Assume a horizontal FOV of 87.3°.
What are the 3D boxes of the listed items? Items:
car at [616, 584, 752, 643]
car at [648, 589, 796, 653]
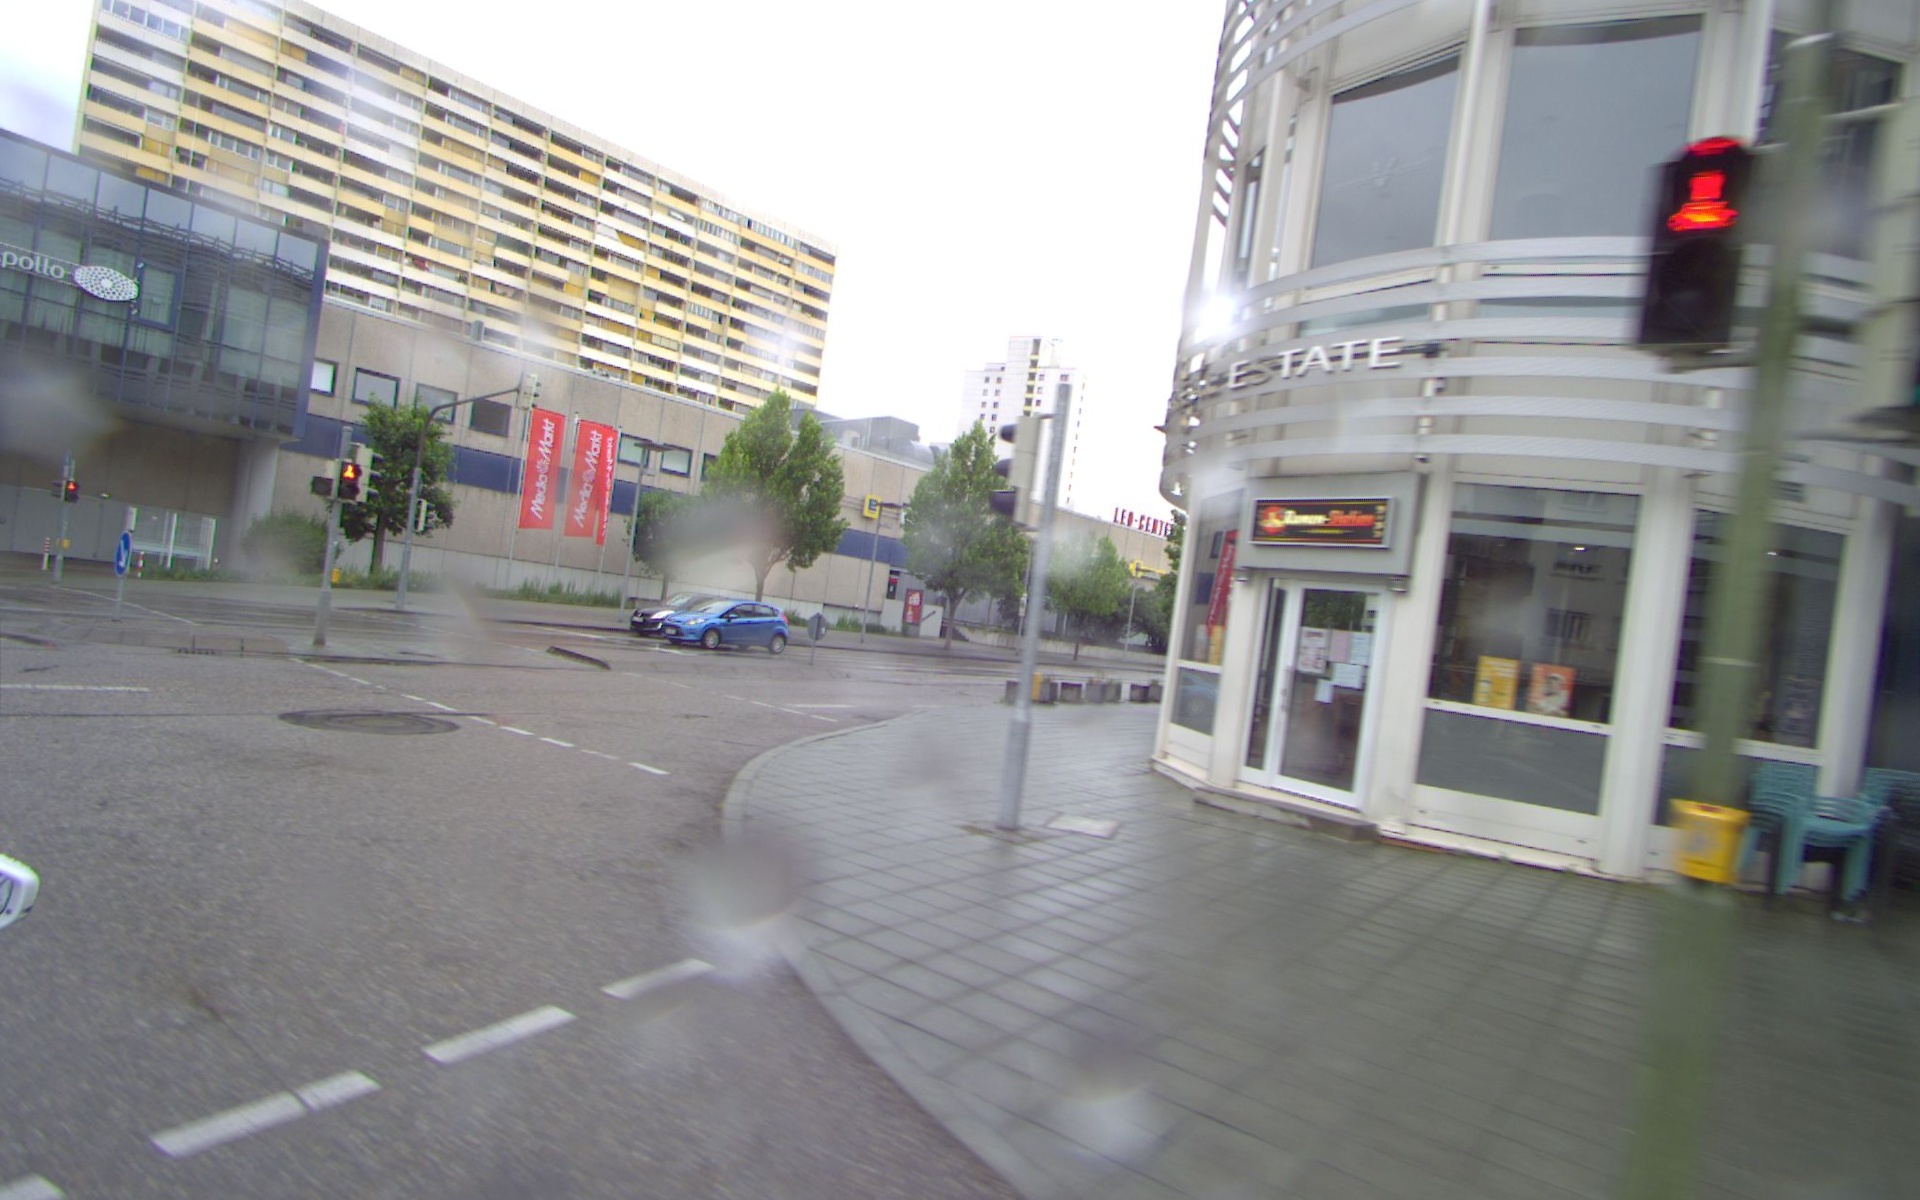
[{"bbox_3d":[-8.517,0.445,31.231,1.719,1.411,3.682,6,-1,39],"label":"car"},{"bbox_3d":[-6.710,0.626,28.656,1.654,1.414,3.842,6,-1,37],"label":"car"}]
